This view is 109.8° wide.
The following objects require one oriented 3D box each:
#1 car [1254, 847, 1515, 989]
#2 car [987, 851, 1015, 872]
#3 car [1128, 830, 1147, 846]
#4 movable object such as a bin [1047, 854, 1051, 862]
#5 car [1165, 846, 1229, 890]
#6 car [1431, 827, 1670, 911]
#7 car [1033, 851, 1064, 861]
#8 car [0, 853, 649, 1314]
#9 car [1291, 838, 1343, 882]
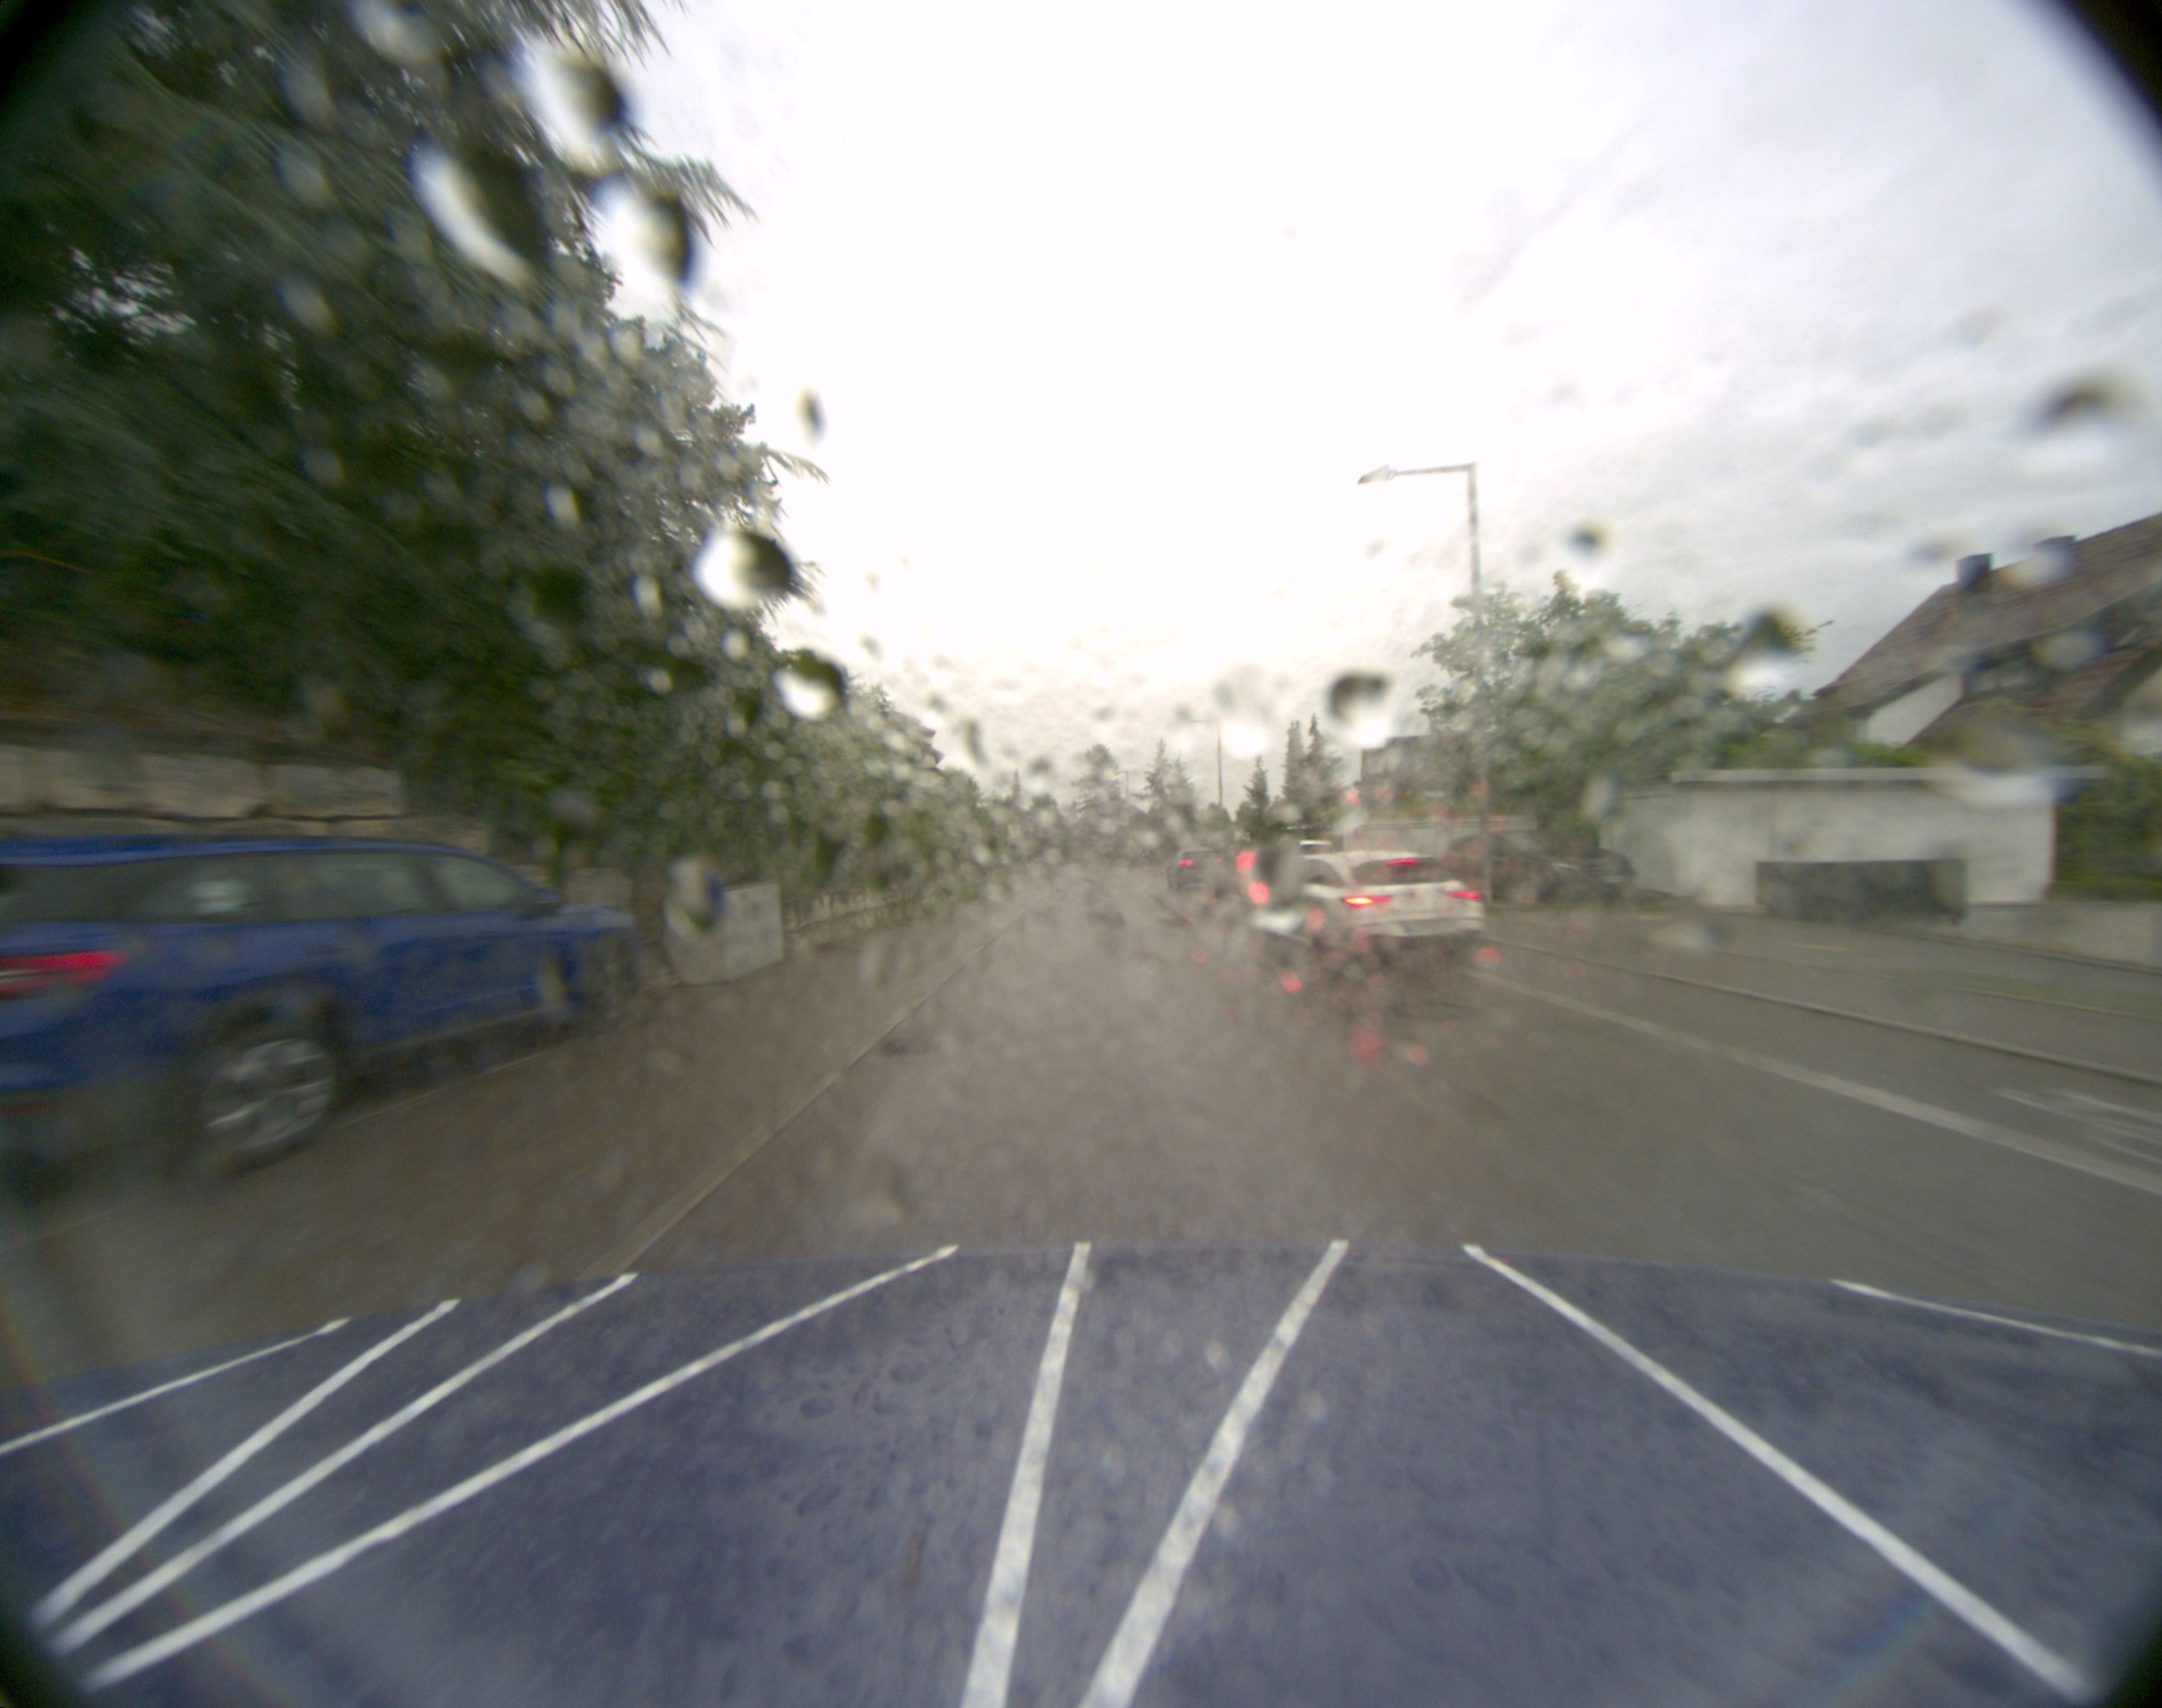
[{"bbox_3d":[3.809,0.682,10.440,1.851,1.452,4.267,-3,1,1],"label":"car"},{"bbox_3d":[-5.733,0.537,54.257,1.711,1.445,4.017,0,0,-10],"label":"car"},{"bbox_3d":[6.287,-1.763,84.730,1.998,1.565,4.000,-3,1,3],"label":"car"},{"bbox_3d":[-4.123,0.477,97.286,0.372,0.982,0.557,-3,1,-22],"label":"movable object such as a bin"},{"bbox_3d":[4.337,0.494,28.868,1.855,1.461,3.699,-3,0,1],"label":"car"},{"bbox_3d":[9.409,0.265,15.718,1.839,1.397,4.256,-3,0,-9],"label":"car"},{"bbox_3d":[-4.612,0.281,106.554,4.002,1.264,1.871,-3,1,-15],"label":"car"},{"bbox_3d":[-4.993,0.841,4.782,1.999,1.660,4.543,0,1,-1],"label":"car"},{"bbox_3d":[9.439,0.191,30.649,1.707,1.544,4.393,-3,1,15],"label":"car"}]
